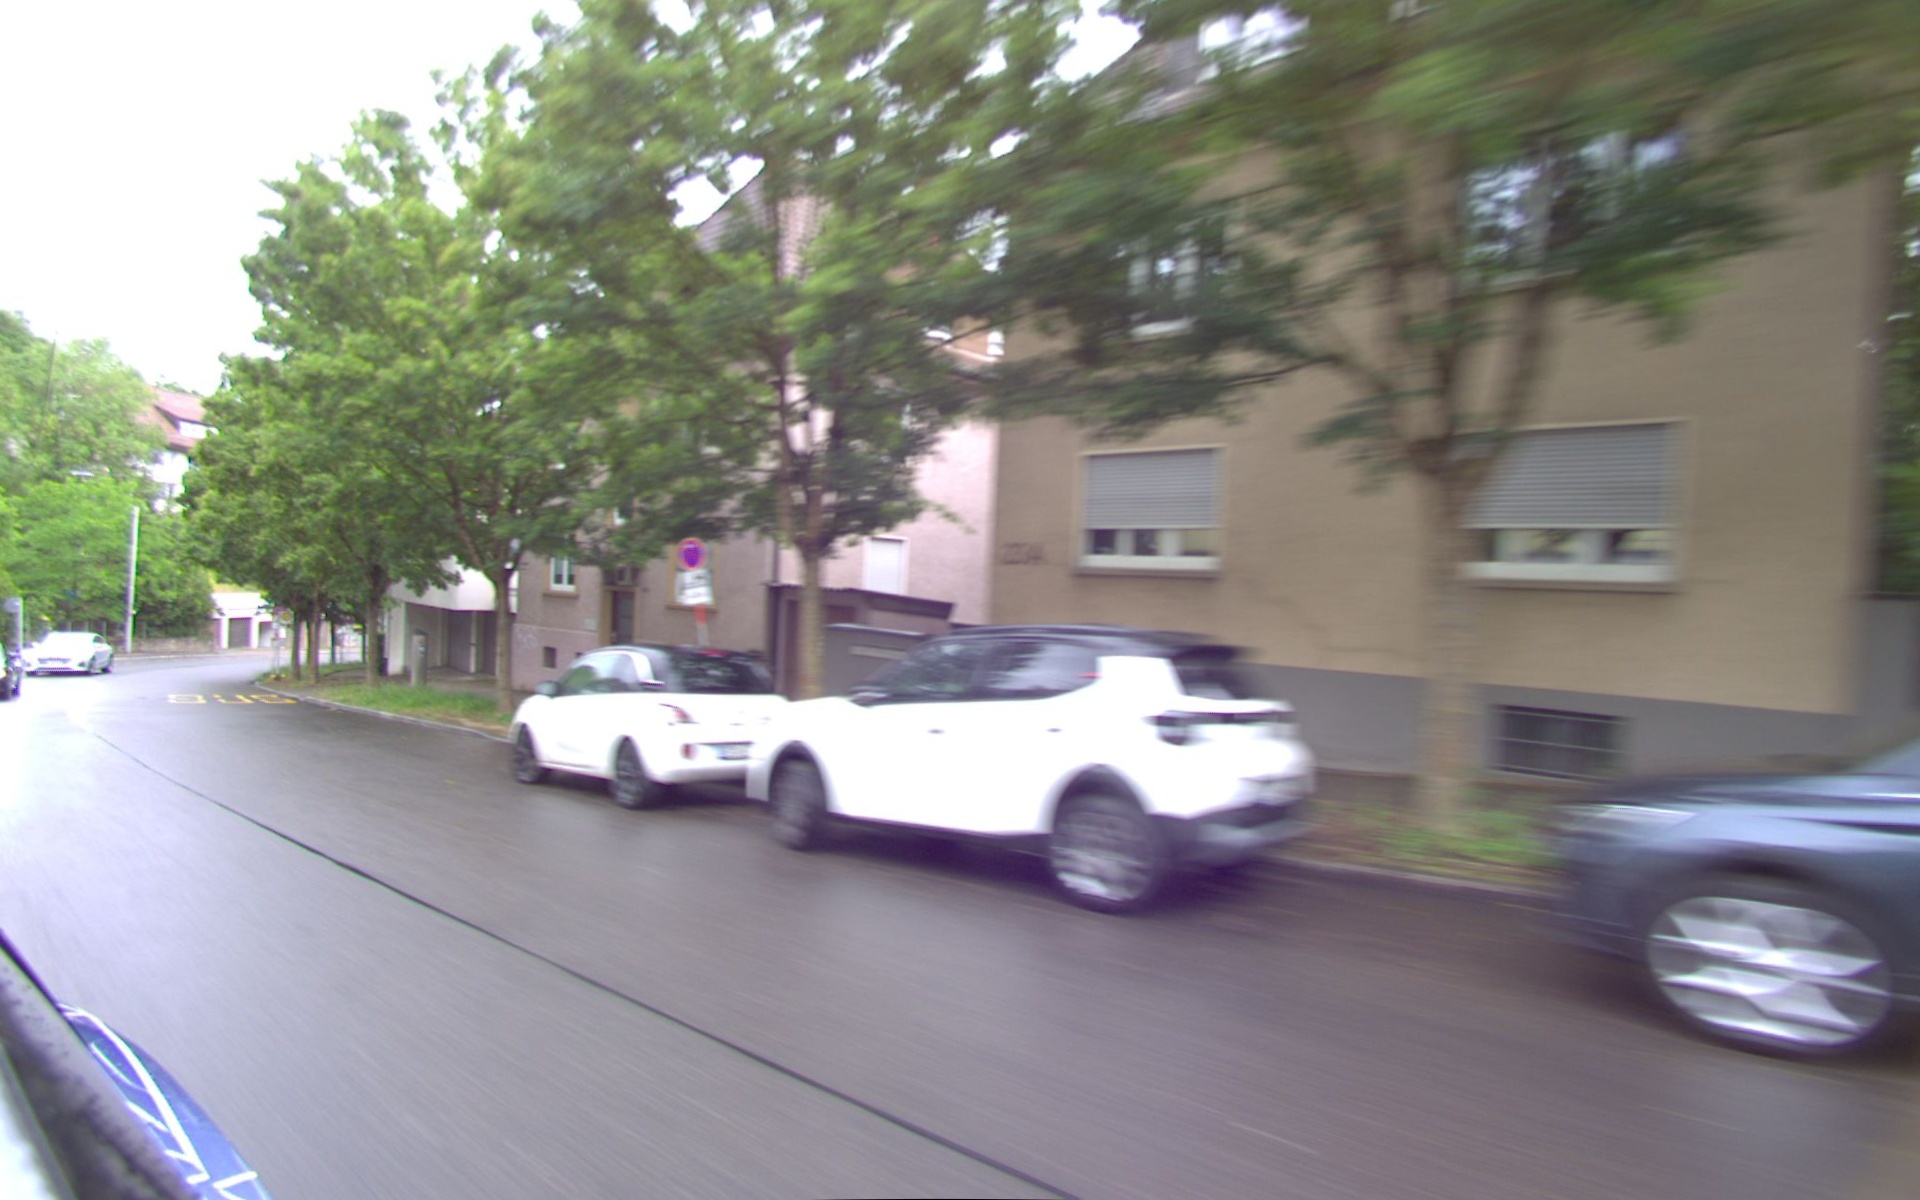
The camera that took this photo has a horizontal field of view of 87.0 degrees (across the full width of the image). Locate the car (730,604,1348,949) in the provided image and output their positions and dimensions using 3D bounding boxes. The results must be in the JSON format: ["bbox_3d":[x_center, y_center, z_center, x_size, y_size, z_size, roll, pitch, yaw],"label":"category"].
[{"bbox_3d":[0.351,0.968,6.821,3.920,1.671,1.576,-1,-7,40],"label":"car"}]

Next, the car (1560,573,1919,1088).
[{"bbox_3d":[4.370,0.802,3.359,3.919,1.671,1.602,-1,-6,39],"label":"car"}]

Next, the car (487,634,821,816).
[{"bbox_3d":[-3.181,1.153,10.144,1.599,1.482,3.671,9,-8,-44],"label":"car"}]

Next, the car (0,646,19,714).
[{"bbox_3d":[-23.382,1.837,23.775,1.781,1.500,4.021,3,-4,-43],"label":"car"}]

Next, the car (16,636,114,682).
[{"bbox_3d":[-34.713,2.280,39.385,1.979,1.674,4.458,2,-3,-30],"label":"car"}]
